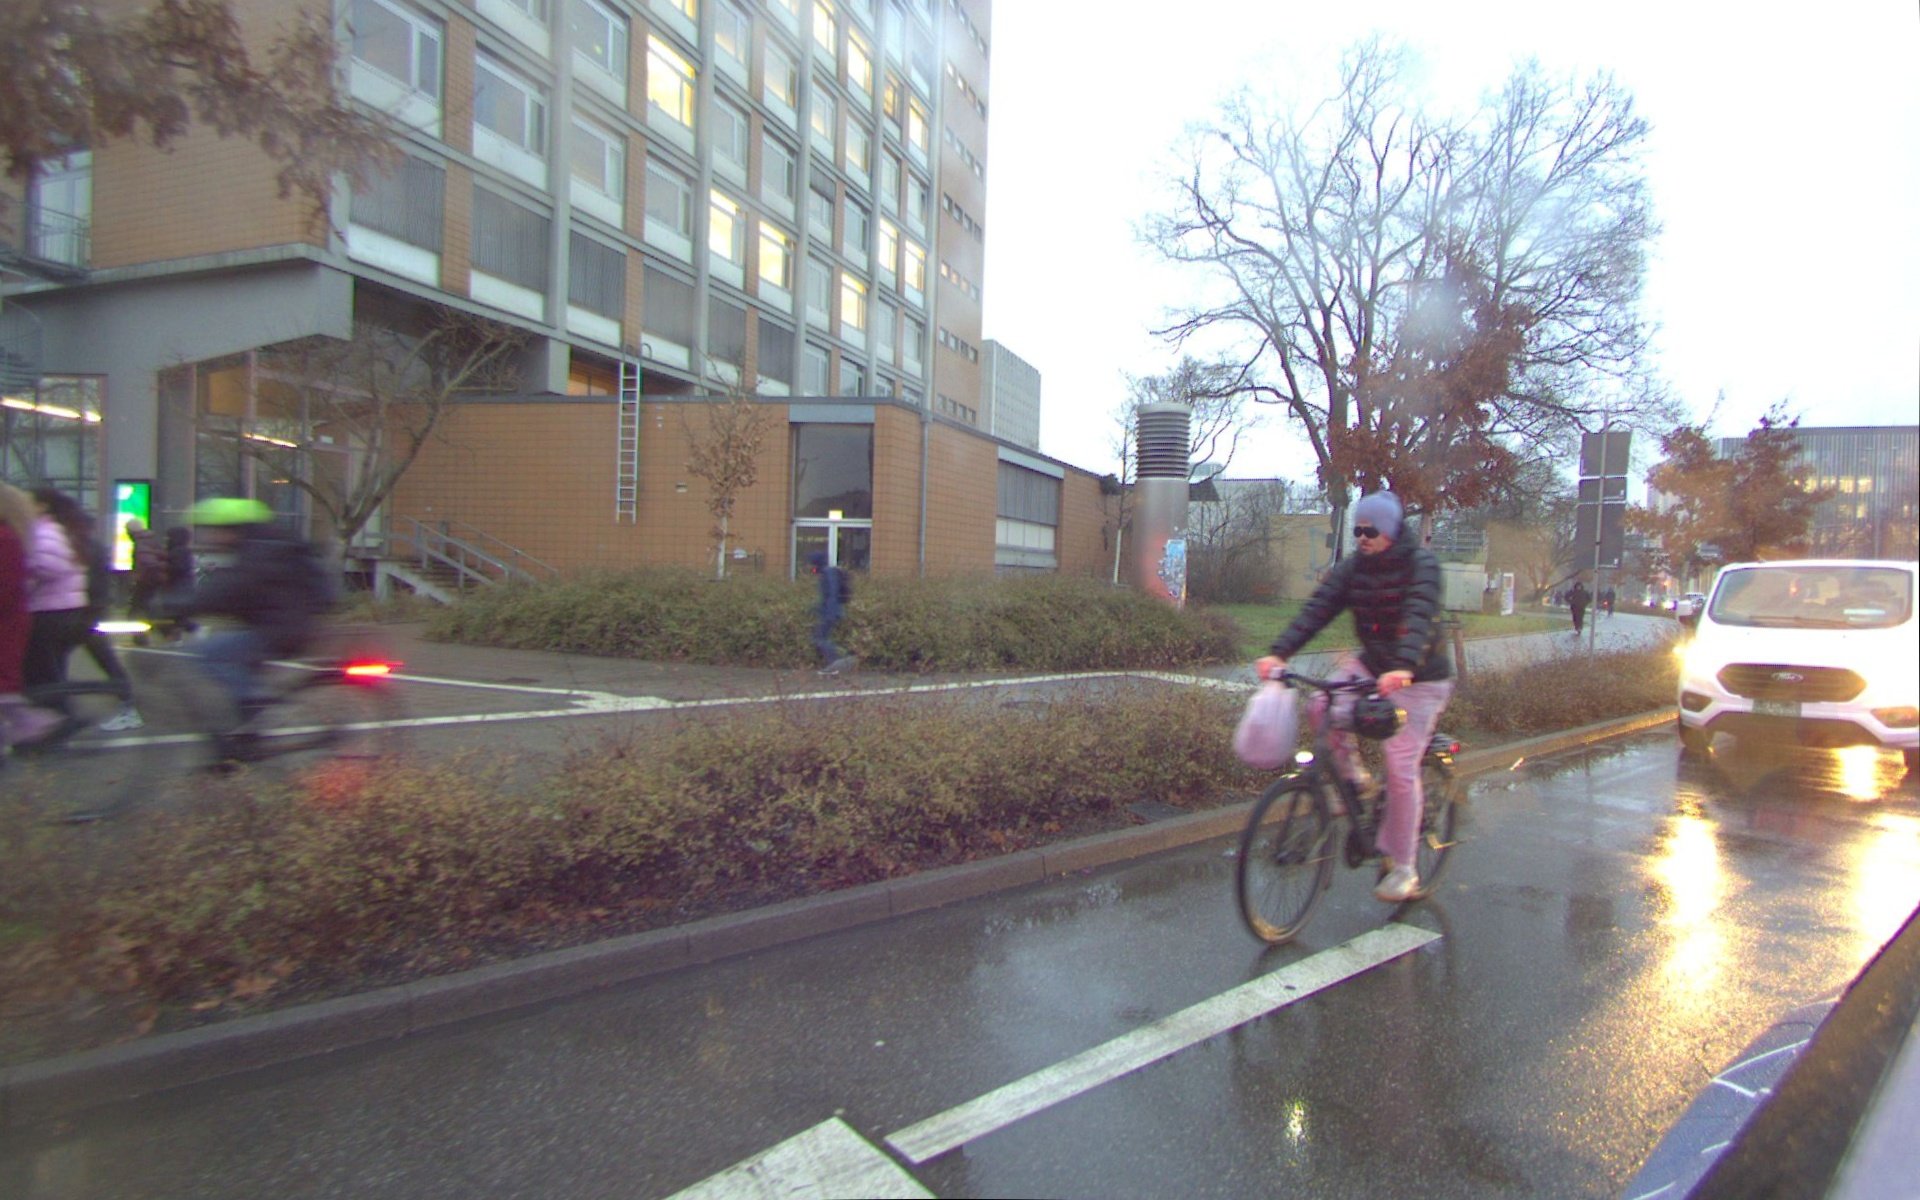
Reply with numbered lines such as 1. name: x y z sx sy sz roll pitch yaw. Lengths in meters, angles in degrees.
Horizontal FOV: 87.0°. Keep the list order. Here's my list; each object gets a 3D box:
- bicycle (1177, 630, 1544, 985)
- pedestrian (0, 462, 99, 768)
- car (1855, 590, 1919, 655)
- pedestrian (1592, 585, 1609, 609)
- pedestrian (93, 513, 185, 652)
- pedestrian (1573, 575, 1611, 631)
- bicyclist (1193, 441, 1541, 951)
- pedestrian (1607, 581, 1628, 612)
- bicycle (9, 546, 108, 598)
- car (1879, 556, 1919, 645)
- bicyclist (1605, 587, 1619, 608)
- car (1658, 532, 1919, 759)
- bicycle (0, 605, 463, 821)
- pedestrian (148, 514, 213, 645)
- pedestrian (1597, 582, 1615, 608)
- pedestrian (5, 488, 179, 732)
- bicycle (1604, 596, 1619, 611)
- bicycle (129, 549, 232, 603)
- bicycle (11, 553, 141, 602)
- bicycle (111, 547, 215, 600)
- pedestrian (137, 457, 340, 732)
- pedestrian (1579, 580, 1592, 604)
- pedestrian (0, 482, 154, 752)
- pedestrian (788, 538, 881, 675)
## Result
1. bicycle: 1.890 0.789 4.634 1.871 1.238 0.793 0 0 -41
2. pedestrian: -5.874 0.074 6.182 0.753 1.803 0.587 1 3 -16
3. car: 24.238 0.633 25.483 4.236 1.523 1.755 3 -1 -37
4. pedestrian: 49.396 -0.235 78.041 0.924 1.848 0.827 3 2 26
5. pedestrian: -11.149 -0.252 13.745 0.847 1.813 0.741 2 1 32
6. pedestrian: 20.220 0.089 32.393 0.906 1.708 0.917 4 1 32
7. bicyclist: 1.844 0.349 4.577 1.214 1.907 1.025 0 0 -41
8. pedestrian: 39.961 -0.234 61.511 0.924 1.848 0.827 3 2 26
9. bicycle: -20.163 -0.627 22.686 0.384 1.115 1.790 2 2 11
10. car: 30.345 0.142 30.558 5.751 2.550 2.350 3 -1 -32
11. bicyclist: 53.186 -0.236 82.567 0.800 1.637 1.074 5 3 30
12. car: 9.448 0.454 10.987 4.933 1.945 2.133 3 -1 -44
13. bicycle: -3.919 0.537 5.569 2.056 0.958 0.563 -1 3 -37
14. pedestrian: -11.082 -0.304 14.391 0.579 1.813 0.554 2 1 32
15. pedestrian: 47.616 -0.376 74.639 0.924 1.848 0.827 3 2 26
16. pedestrian: -6.417 0.066 7.524 0.744 1.708 0.722 1 1 -16
17. bicycle: 53.146 0.283 82.563 0.800 1.155 2.191 6 4 29
18. bicycle: -16.734 -0.517 21.763 0.397 1.115 1.781 2 2 24
19. bicycle: -19.285 -0.493 22.141 0.700 1.003 2.044 2 2 24
20. bicycle: -17.314 -0.577 22.025 0.437 1.115 1.781 2 2 24
21. pedestrian: -3.907 -0.045 5.511 0.832 1.333 0.877 0 2 -36
22. pedestrian: 53.643 -0.690 86.762 0.758 2.038 0.903 2 2 25
23. pedestrian: -5.958 0.101 6.790 0.599 1.708 0.671 3 2 -16
24. pedestrian: -1.643 0.068 13.383 1.050 1.708 0.810 3 2 2
